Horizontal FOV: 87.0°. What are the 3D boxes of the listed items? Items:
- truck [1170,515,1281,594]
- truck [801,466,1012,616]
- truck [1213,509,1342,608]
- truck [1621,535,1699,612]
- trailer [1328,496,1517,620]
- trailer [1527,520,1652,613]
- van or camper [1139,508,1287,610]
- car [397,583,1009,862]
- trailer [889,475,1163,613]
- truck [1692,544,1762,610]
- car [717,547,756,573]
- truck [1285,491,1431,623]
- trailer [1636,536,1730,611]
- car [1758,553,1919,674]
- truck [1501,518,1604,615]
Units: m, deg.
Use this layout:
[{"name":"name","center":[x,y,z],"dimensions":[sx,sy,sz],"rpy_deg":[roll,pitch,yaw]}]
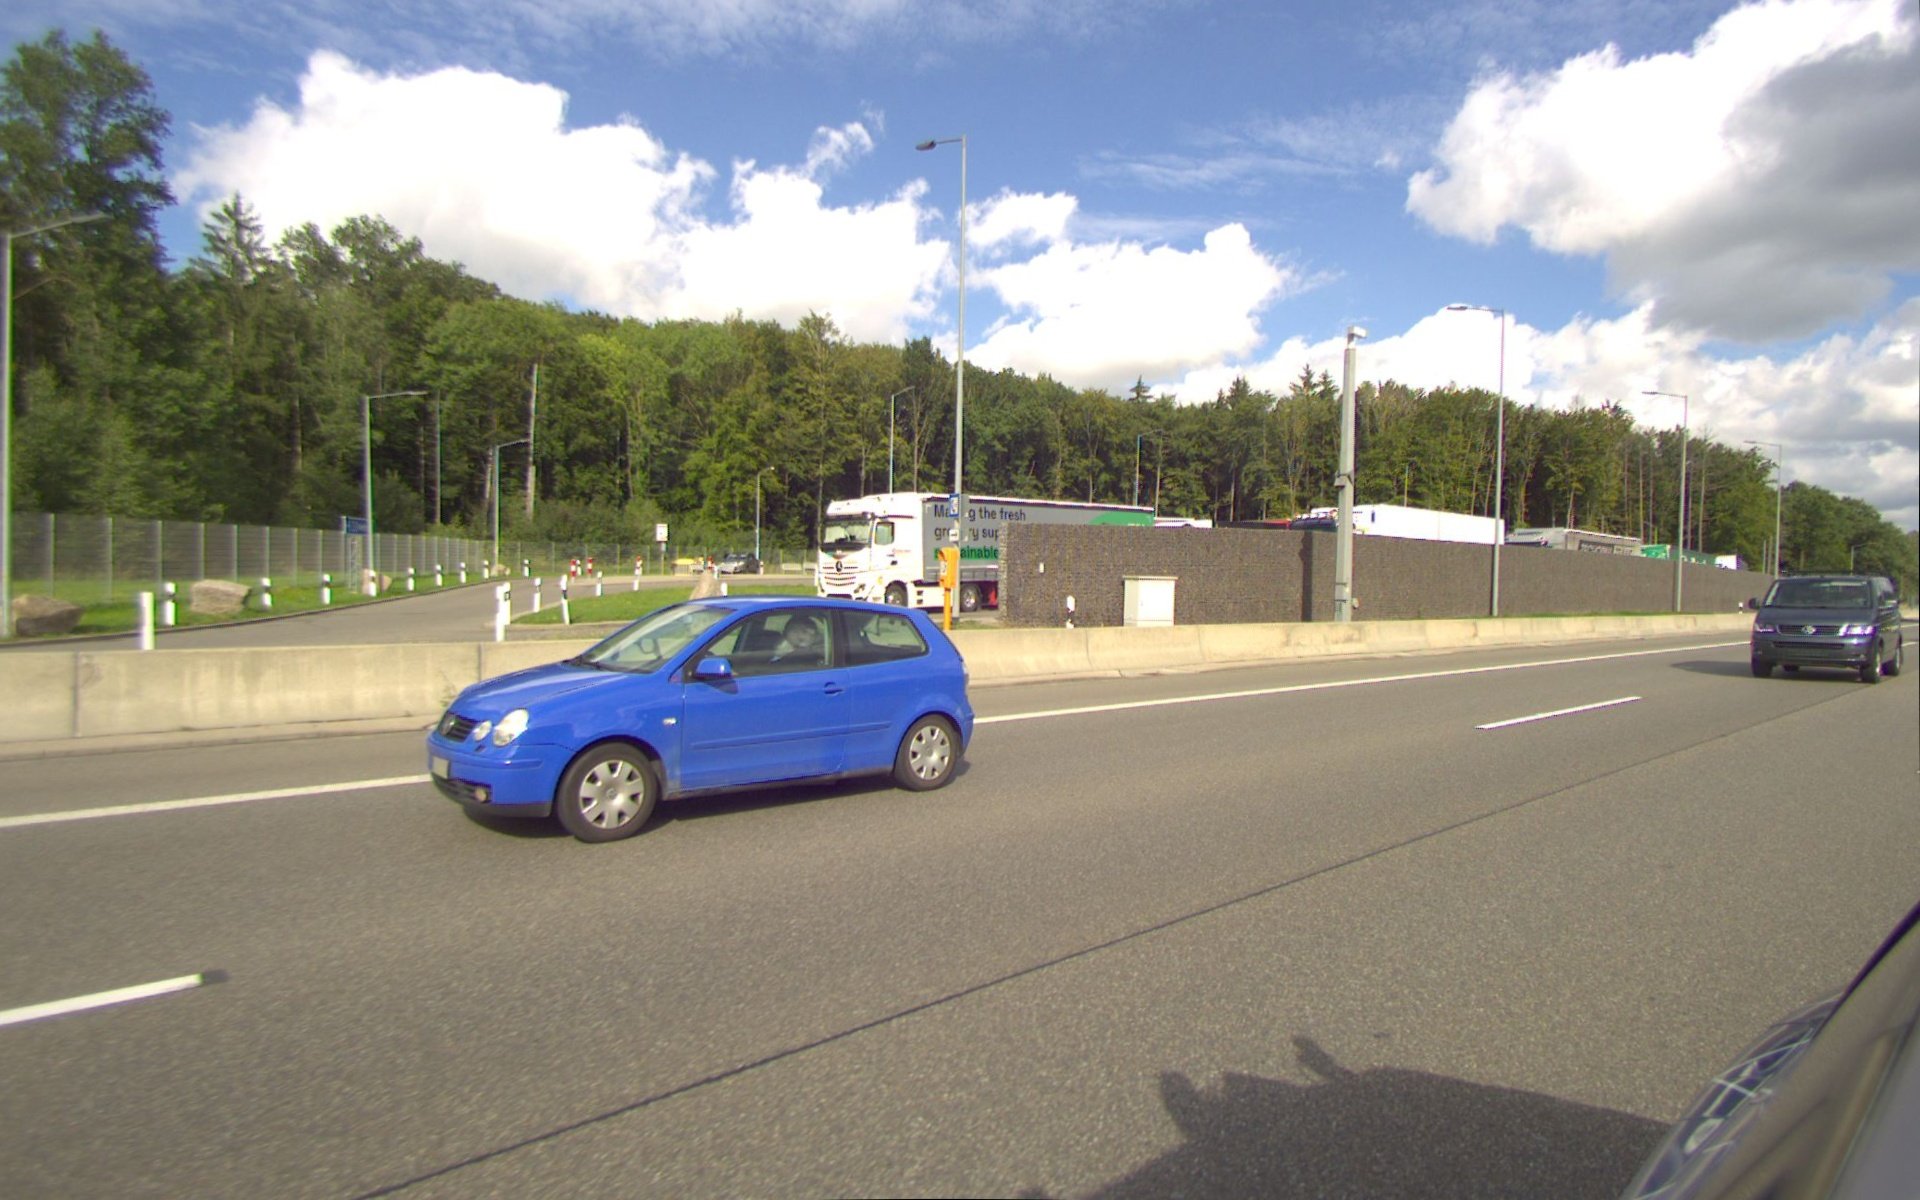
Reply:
[{"name":"truck","center":[14.554,-2.368,55.379],"dimensions":[6.147,4.075,2.979],"rpy_deg":[-1,0,-42]},{"name":"truck","center":[-1.647,-1.849,34.239],"dimensions":[2.871,4.563,7.066],"rpy_deg":[2,2,43]},{"name":"truck","center":[15.912,-1.967,50.427],"dimensions":[6.913,4.563,2.877],"rpy_deg":[0,1,-41]},{"name":"truck","center":[47.725,-1.767,68.901],"dimensions":[6.848,4.986,2.659],"rpy_deg":[0,1,-41]},{"name":"trailer","center":[21.222,-1.727,45.773],"dimensions":[12.884,4.986,2.659],"rpy_deg":[0,2,-41]},{"name":"trailer","center":[37.222,-1.825,59.562],"dimensions":[12.521,4.986,2.659],"rpy_deg":[0,2,-41]},{"name":"van or camper","center":[8.599,-1.324,34.288],"dimensions":[4.653,3.237,2.396],"rpy_deg":[0,1,-36]},{"name":"car","center":[-1.632,0.631,7.226],"dimensions":[3.930,1.460,1.653],"rpy_deg":[0,0,-41]},{"name":"trailer","center":[3.027,-1.910,39.017],"dimensions":[2.872,4.563,12.794],"rpy_deg":[2,2,44]},{"name":"truck","center":[60.706,-1.801,80.036],"dimensions":[7.252,4.986,2.660],"rpy_deg":[0,1,-40]},{"name":"car","center":[-15.390,-2.726,69.841],"dimensions":[1.920,1.705,4.002],"rpy_deg":[1,2,-2]},{"name":"truck","center":[16.417,-1.673,41.529],"dimensions":[6.864,4.986,2.659],"rpy_deg":[0,1,-41]},{"name":"trailer","center":[52.340,-1.824,73.021],"dimensions":[12.513,4.986,2.659],"rpy_deg":[0,2,-41]},{"name":"car","center":[17.692,0.240,20.079],"dimensions":[4.842,2.136,1.853],"rpy_deg":[0,0,-38]},{"name":"truck","center":[32.549,-1.774,55.466],"dimensions":[7.135,4.986,2.659],"rpy_deg":[0,1,-41]}]
